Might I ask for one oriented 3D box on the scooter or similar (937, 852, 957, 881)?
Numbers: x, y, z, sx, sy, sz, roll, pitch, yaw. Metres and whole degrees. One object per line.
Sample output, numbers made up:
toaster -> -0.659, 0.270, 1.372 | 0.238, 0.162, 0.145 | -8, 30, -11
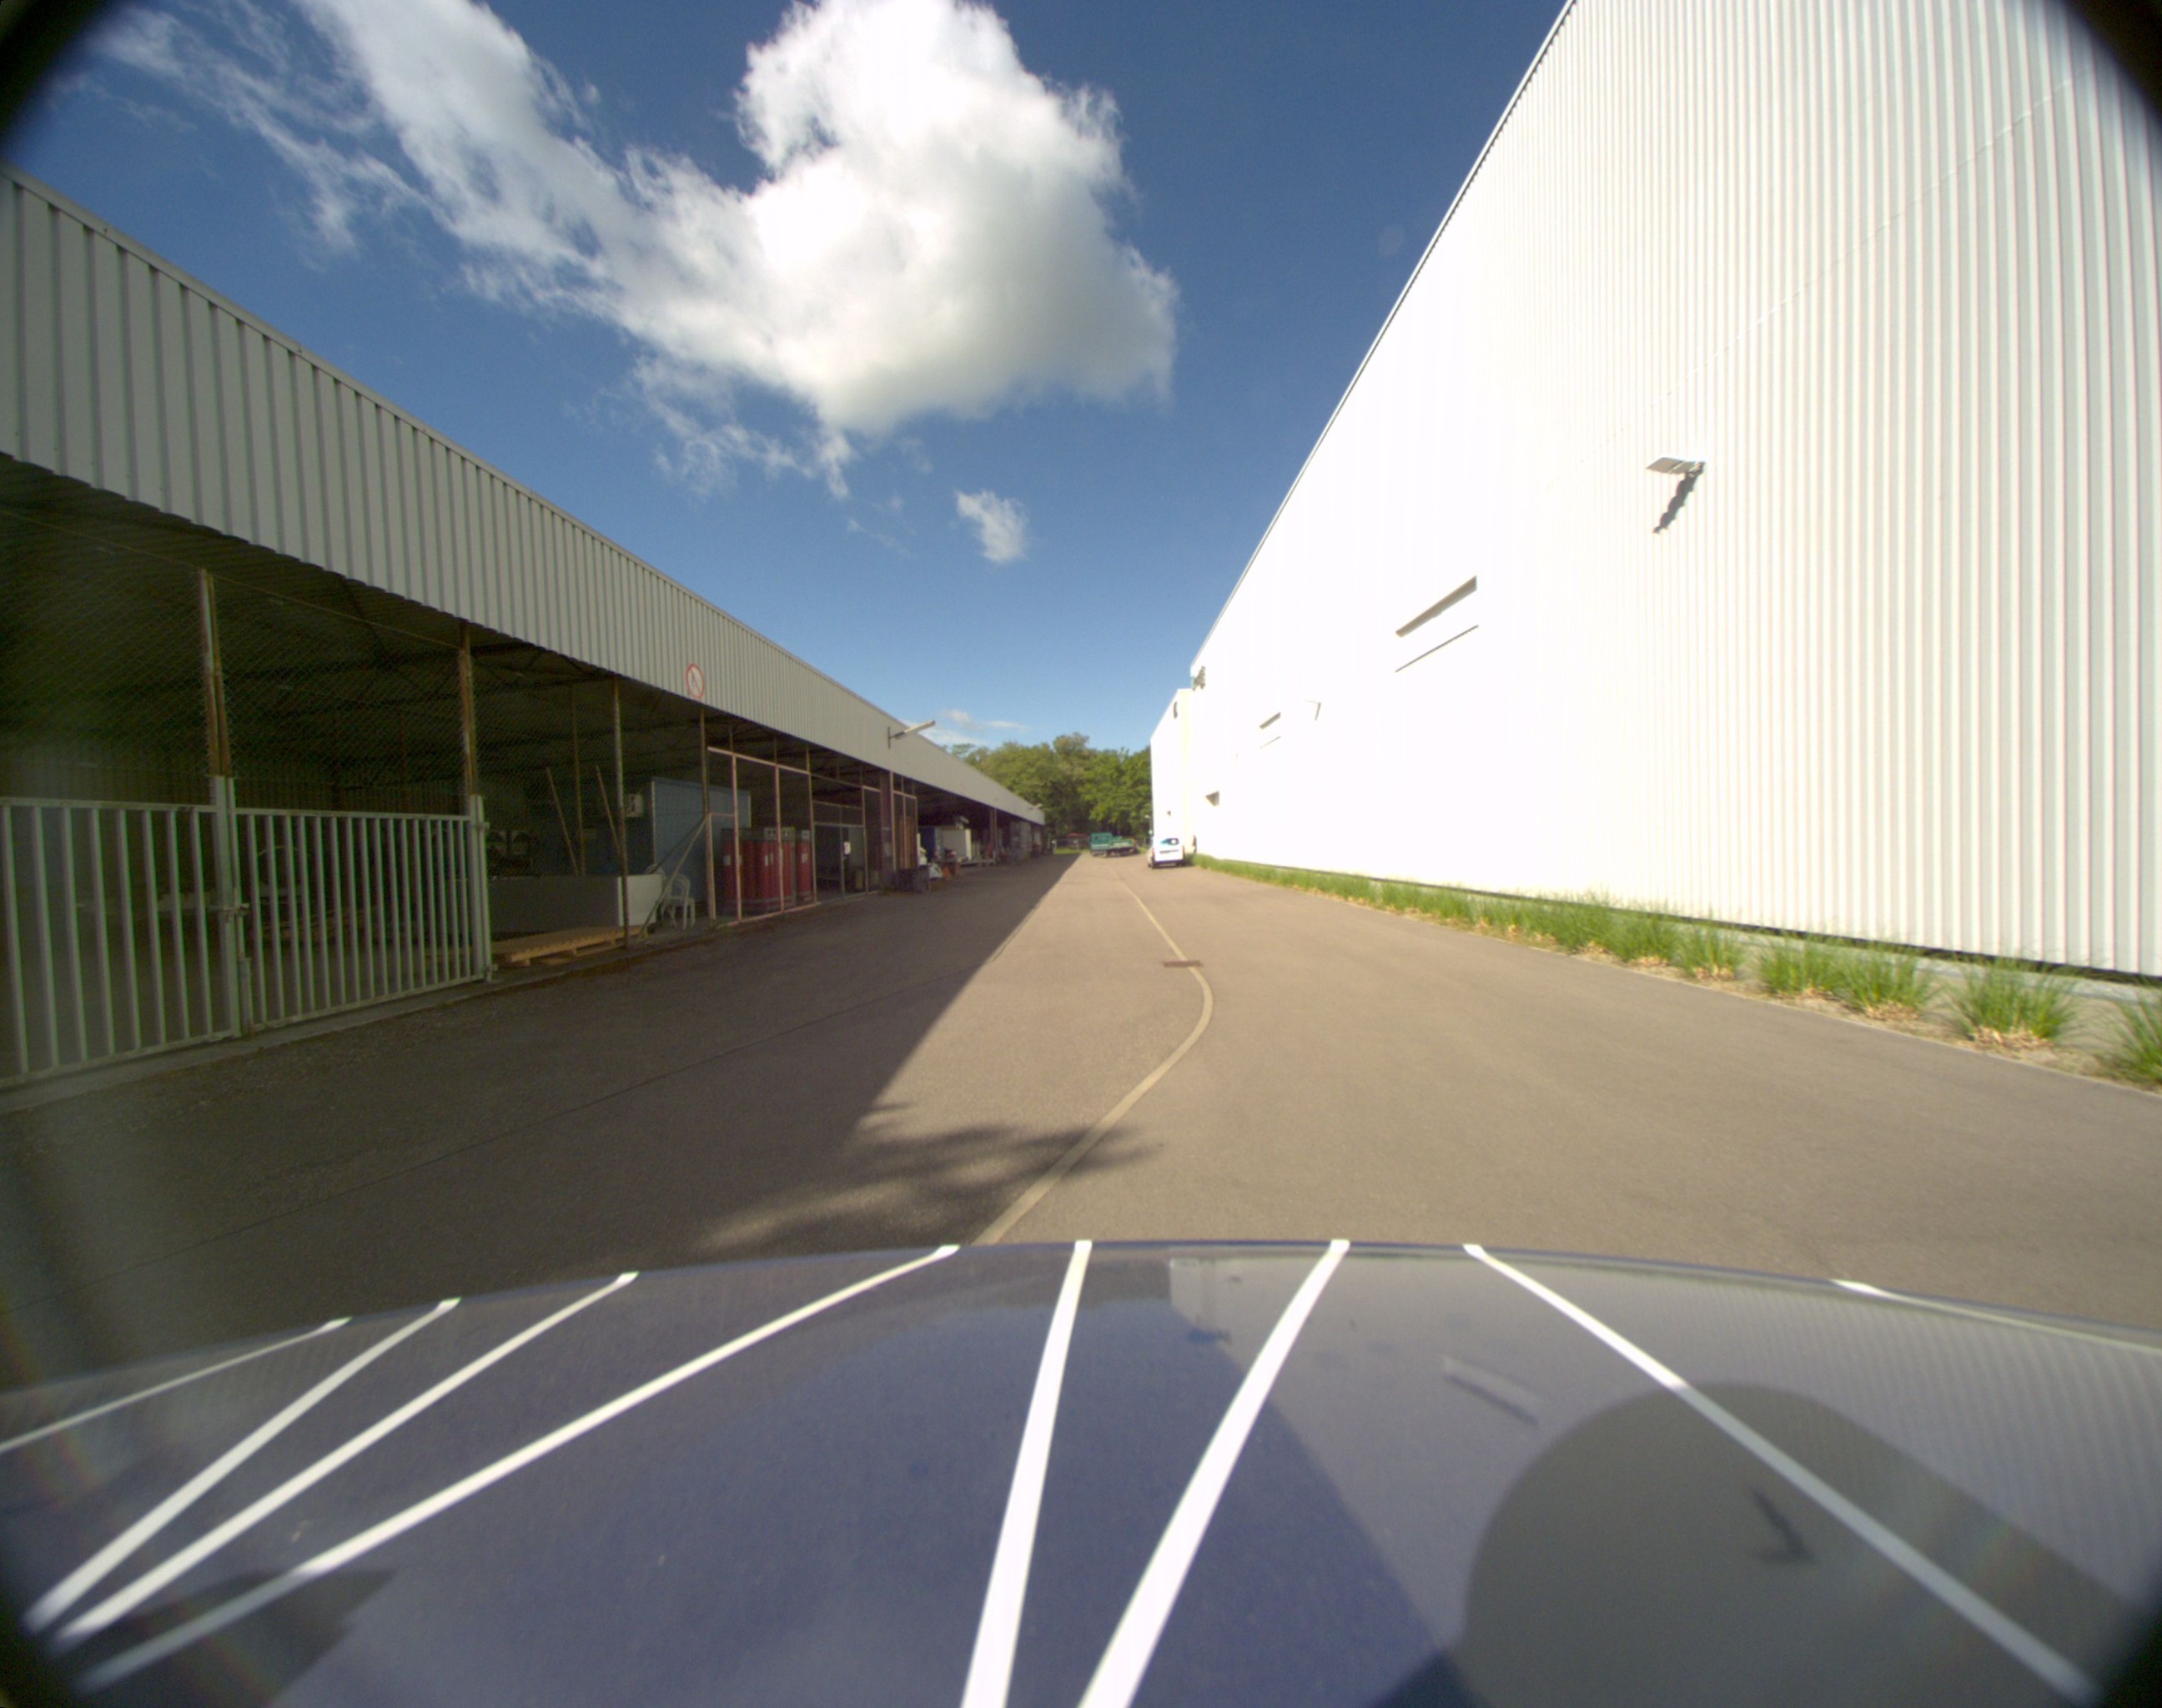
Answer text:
scooter or similar -> -5.571, 0.517, 31.601 | 0.521, 1.128, 1.592 | -1, 2, 1

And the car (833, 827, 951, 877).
car -> -9.217, -0.137, 37.414 | 5.229, 2.284, 2.083 | -1, 2, 0

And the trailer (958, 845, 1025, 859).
trailer -> -7.940, -0.217, 67.877 | 5.749, 1.127, 2.008 | -1, 1, 0

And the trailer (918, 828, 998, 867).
trailer -> -7.441, -0.391, 46.239 | 4.552, 2.322, 1.688 | 0, 2, 2

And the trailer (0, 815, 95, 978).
trailer -> -15.792, 0.589, 9.614 | 3.412, 2.126, 2.464 | -1, 1, 3

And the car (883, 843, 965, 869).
car -> -8.983, 0.095, 43.678 | 4.356, 1.425, 1.864 | 0, 2, -2

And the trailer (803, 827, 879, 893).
trailer -> -8.225, 0.136, 26.315 | 1.581, 2.131, 3.520 | 0, 2, -2

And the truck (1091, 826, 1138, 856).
truck -> 3.395, -1.320, 80.157 | 2.589, 2.701, 9.684 | -4, 1, -11

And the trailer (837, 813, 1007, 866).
trailer -> -10.047, -0.931, 48.783 | 10.317, 3.277, 2.675 | 0, 2, 2

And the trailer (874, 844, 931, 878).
trailer -> -8.131, 0.305, 34.808 | 2.099, 1.454, 1.641 | -1, 2, 4

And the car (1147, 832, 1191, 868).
car -> 4.839, -0.246, 42.394 | 1.933, 1.780, 4.597 | -3, 1, 1
